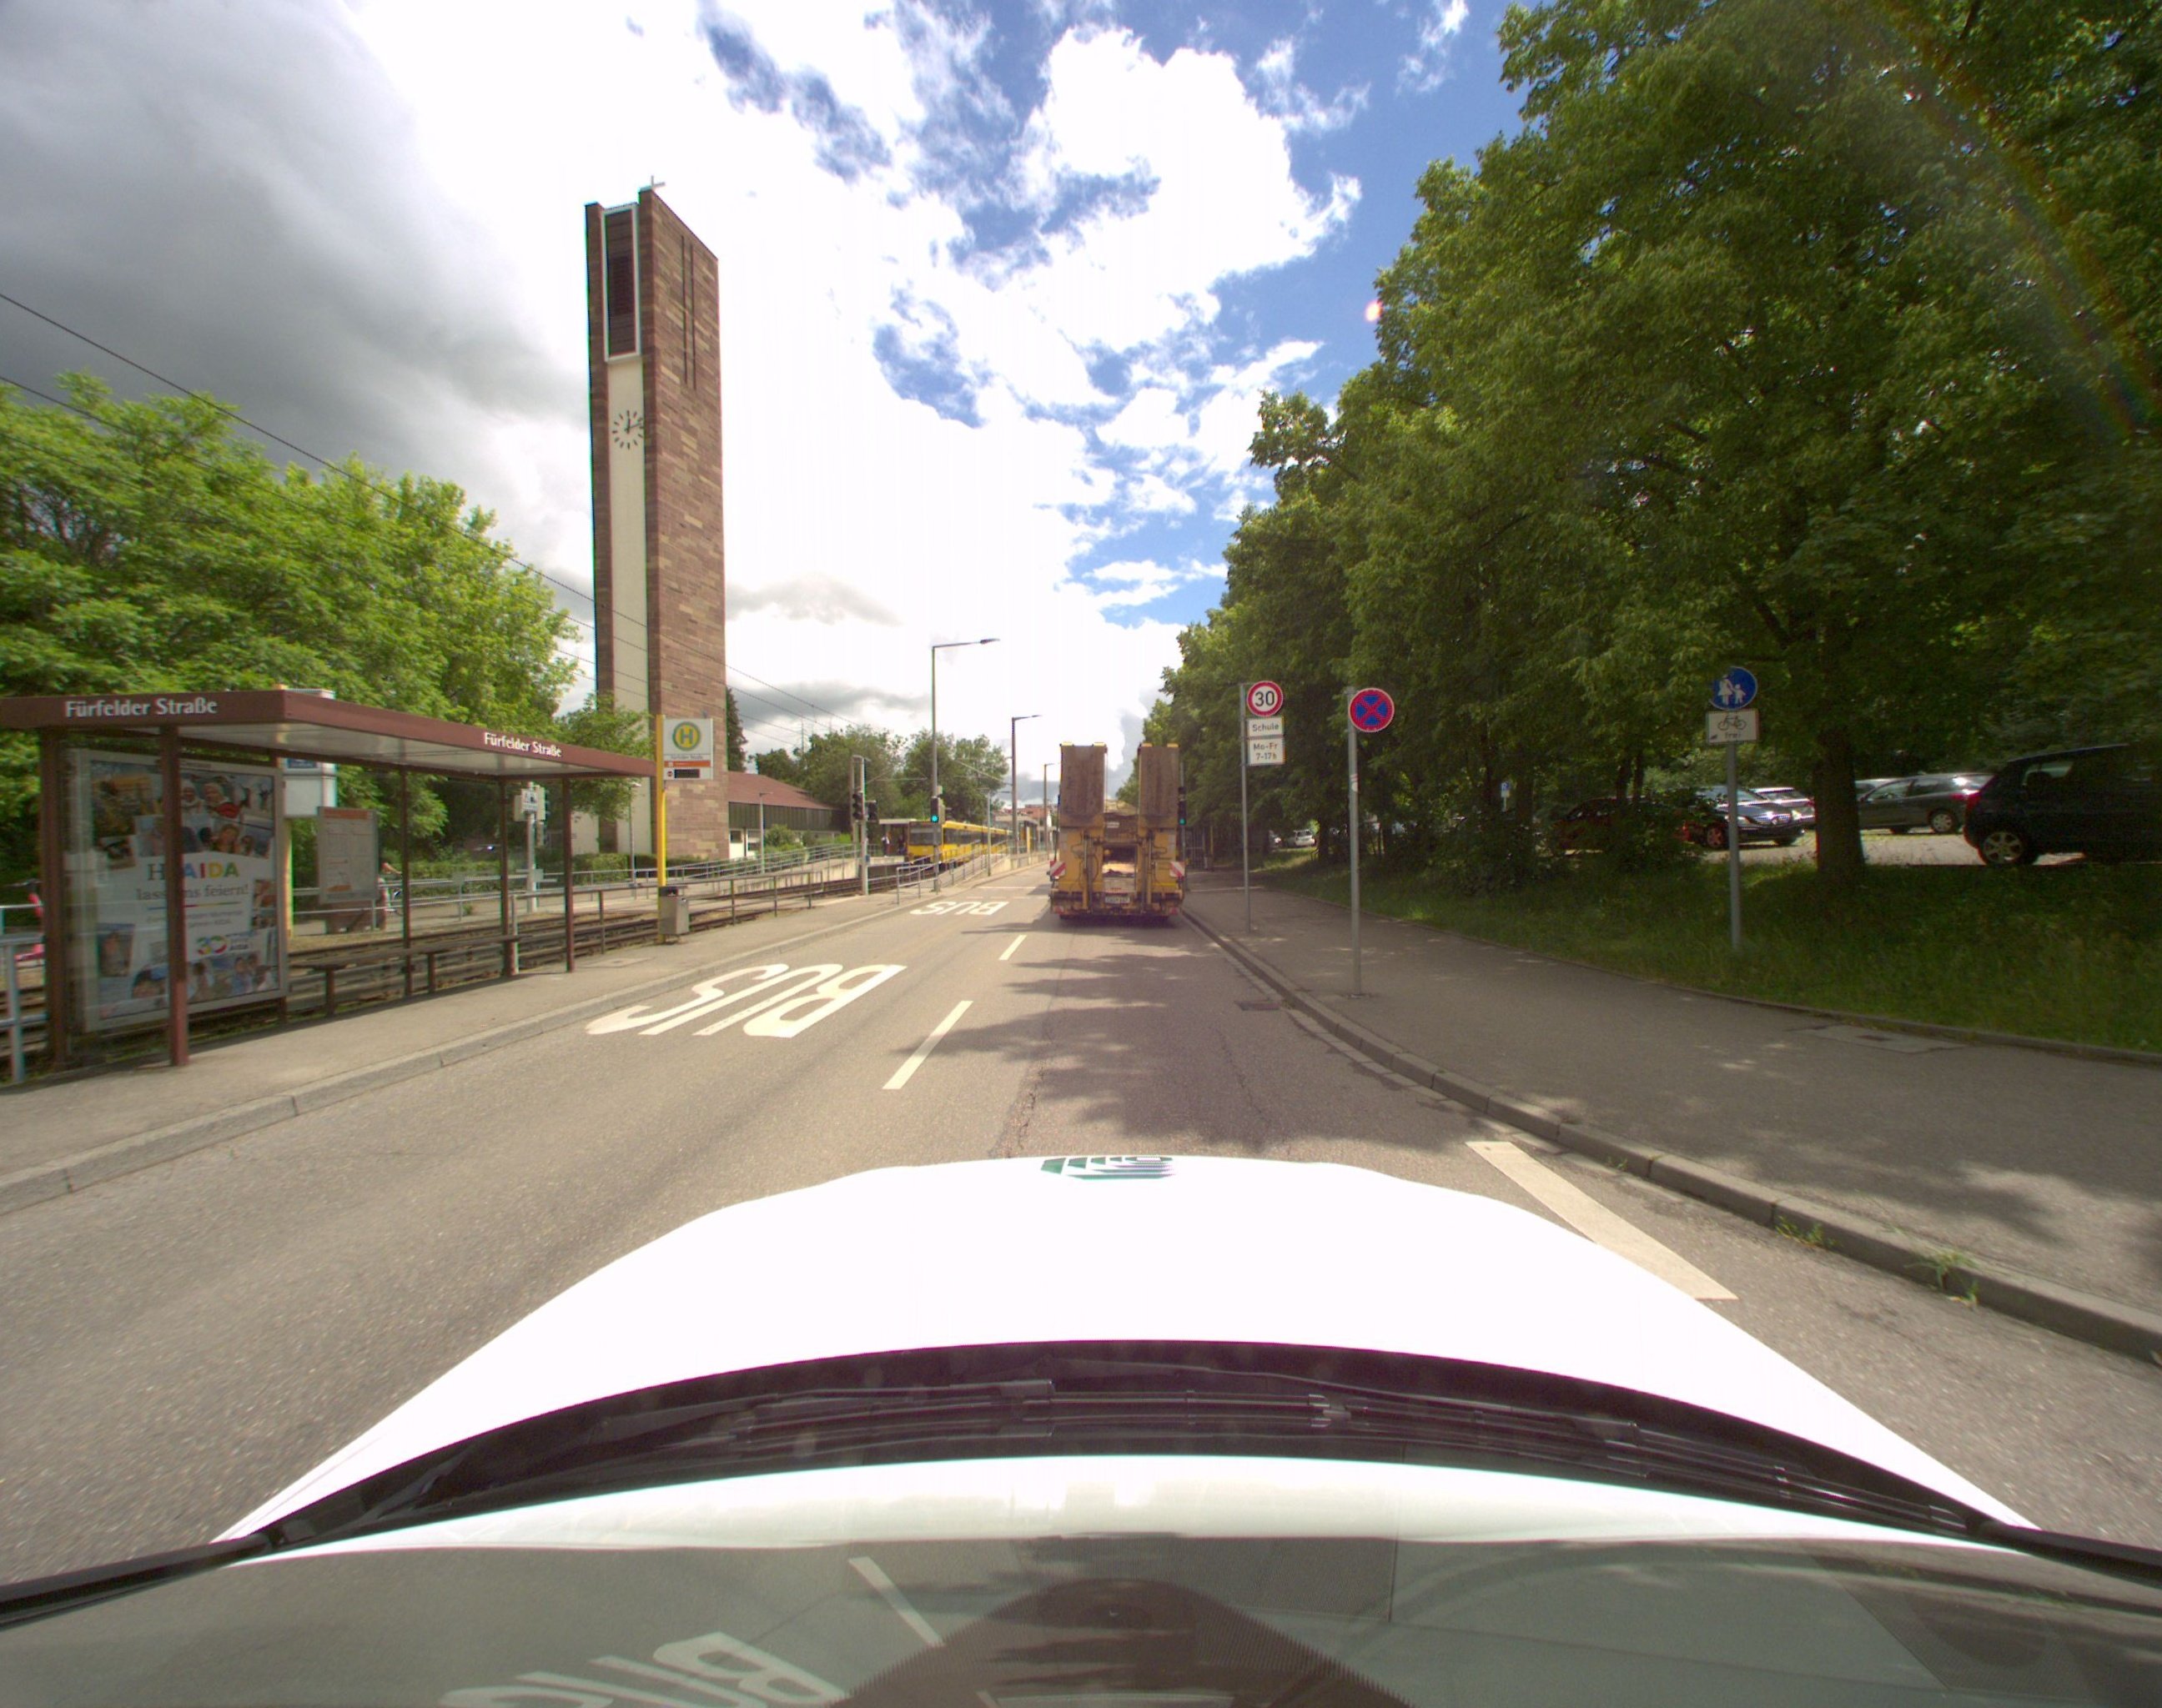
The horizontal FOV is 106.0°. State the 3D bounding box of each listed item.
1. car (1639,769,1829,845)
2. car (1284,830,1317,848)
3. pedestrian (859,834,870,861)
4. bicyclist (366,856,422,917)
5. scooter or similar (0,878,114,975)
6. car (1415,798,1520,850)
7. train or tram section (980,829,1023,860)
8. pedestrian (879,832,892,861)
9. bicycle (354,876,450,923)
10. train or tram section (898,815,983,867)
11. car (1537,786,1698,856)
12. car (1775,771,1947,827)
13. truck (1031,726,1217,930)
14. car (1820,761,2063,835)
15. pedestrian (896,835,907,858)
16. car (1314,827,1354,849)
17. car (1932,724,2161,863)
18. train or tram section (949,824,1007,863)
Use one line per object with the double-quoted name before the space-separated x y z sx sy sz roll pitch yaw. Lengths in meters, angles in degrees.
"car" 15.926 -1.069 20.133 1.746 1.582 3.664 -4 0 1
"car" 19.326 -1.267 71.869 1.834 1.420 4.125 -3 0 2
"pedestrian" -14.242 -0.447 53.607 0.582 1.777 0.576 0 0 1
"bicyclist" -16.337 0.761 19.390 0.631 1.429 0.790 0 0 1
"scooter or similar" -14.786 0.987 11.461 0.647 1.237 1.402 0 1 2
"car" 13.117 -0.957 27.911 1.621 1.514 4.140 -5 0 1
"train or tram section" -9.788 -1.098 102.450 3.097 3.464 19.203 0 0 1
"pedestrian" -13.888 -0.532 57.945 0.710 2.013 0.731 0 0 -1
"bicycle" -16.324 1.069 19.646 0.635 0.993 1.929 0 0 1
"train or tram section" -10.609 -0.896 64.379 3.097 3.464 18.830 0 0 1
"car" 13.385 -0.770 20.586 1.655 1.500 3.664 -4 0 1
"car" 26.808 -1.830 28.212 2.052 1.624 4.100 -2 0 0
"truck" 0.686 -0.529 21.982 3.392 3.732 13.732 -1 0 -1
"car" 20.664 -1.271 19.818 1.749 1.442 3.858 -4 0 -1
"pedestrian" -13.101 -0.547 59.427 0.637 1.707 0.646 0 0 1
"car" 18.604 -1.151 60.011 1.607 1.442 4.354 -4 0 2
"car" 12.879 -0.708 9.506 1.818 1.512 3.812 -2 -1 -1
"train or tram section" -10.203 -0.989 83.333 3.097 3.464 19.001 0 0 1
